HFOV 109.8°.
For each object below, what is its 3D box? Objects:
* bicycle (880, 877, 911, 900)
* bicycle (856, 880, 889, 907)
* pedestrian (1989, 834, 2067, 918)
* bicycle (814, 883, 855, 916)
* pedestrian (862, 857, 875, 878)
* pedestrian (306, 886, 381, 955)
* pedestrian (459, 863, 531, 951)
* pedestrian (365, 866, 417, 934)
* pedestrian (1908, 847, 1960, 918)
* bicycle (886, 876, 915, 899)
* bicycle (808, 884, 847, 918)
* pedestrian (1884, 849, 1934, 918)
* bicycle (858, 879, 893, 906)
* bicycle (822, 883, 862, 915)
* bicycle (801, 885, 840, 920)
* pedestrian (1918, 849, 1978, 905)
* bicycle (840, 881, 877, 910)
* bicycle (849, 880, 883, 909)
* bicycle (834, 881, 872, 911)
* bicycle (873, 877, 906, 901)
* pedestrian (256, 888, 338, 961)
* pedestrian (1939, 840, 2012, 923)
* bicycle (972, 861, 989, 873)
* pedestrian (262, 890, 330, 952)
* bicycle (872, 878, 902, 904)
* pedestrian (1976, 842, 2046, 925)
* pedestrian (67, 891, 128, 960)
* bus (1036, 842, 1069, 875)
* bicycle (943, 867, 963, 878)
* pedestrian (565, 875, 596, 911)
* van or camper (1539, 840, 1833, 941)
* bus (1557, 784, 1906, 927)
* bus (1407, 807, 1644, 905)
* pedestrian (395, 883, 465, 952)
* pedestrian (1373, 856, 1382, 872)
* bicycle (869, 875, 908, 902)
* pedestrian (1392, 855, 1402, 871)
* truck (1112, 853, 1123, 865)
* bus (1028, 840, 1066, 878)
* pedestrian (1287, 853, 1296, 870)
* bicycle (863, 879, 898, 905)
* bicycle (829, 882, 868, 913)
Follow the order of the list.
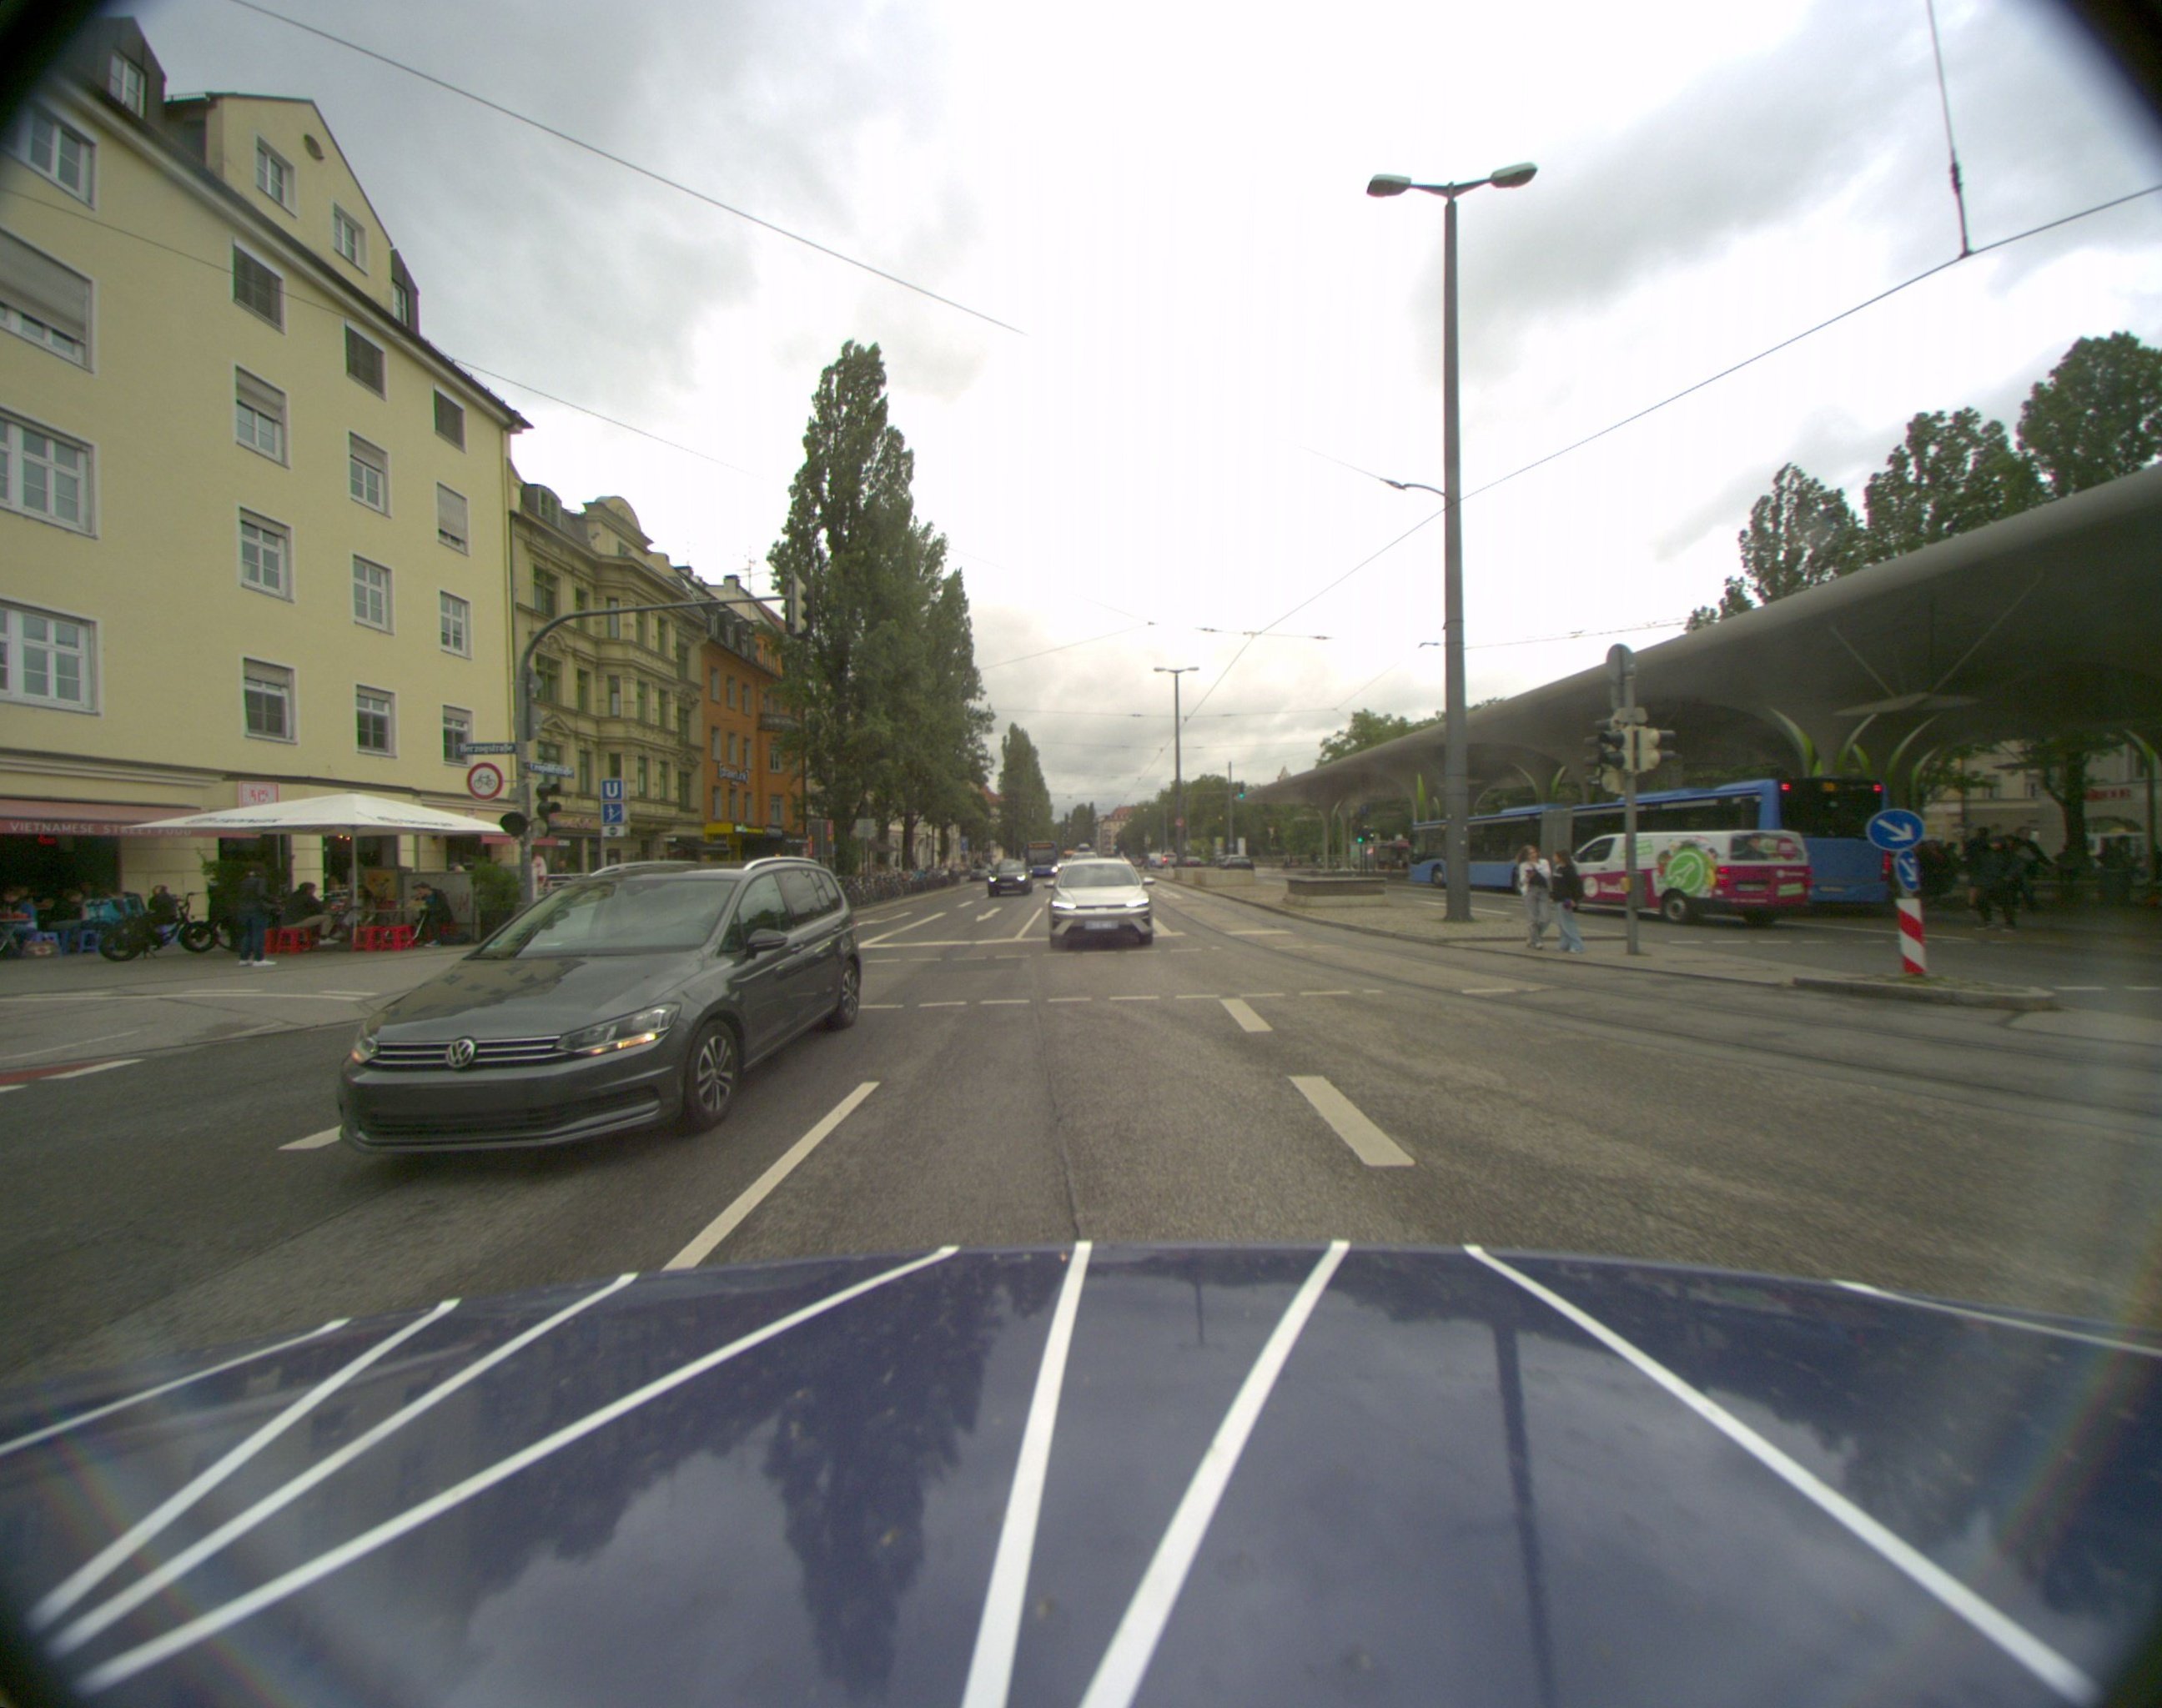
[{"bbox_3d":[-8.130,1.520,33.261,1.837,0.989,0.326,-3,-1,41],"label":"bicycle"},{"bbox_3d":[-8.008,1.499,29.099,1.837,0.990,0.349,0,1,44],"label":"bicycle"},{"bbox_3d":[20.877,0.484,16.770,0.805,1.806,0.706,-1,0,16],"label":"pedestrian"},{"bbox_3d":[-8.081,1.485,24.891,1.836,0.990,0.349,0,1,40],"label":"bicycle"},{"bbox_3d":[-17.815,1.120,63.785,0.748,1.704,1.017,-1,0,1],"label":"pedestrian"},{"bbox_3d":[-14.790,1.322,15.261,0.679,1.304,0.796,-1,0,1],"label":"pedestrian"},{"bbox_3d":[-11.972,1.052,15.551,0.884,1.733,0.857,-1,0,-16],"label":"pedestrian"},{"bbox_3d":[-16.910,1.121,18.632,0.616,1.623,0.677,-1,0,1],"label":"pedestrian"},{"bbox_3d":[19.187,0.638,17.095,0.564,1.563,0.533,-1,0,1],"label":"pedestrian"},{"bbox_3d":[-8.060,1.519,33.954,0.326,0.989,1.837,-1,-2,-45],"label":"bicycle"},{"bbox_3d":[-8.082,1.483,24.203,1.837,0.990,0.349,0,1,44],"label":"bicycle"},{"bbox_3d":[18.403,0.650,16.894,0.614,1.496,0.471,-1,0,-1],"label":"pedestrian"},{"bbox_3d":[-8.071,1.504,29.789,1.836,0.990,0.349,0,1,41],"label":"bicycle"},{"bbox_3d":[-8.054,1.486,25.556,1.836,0.990,0.349,0,1,40],"label":"bicycle"},{"bbox_3d":[-8.088,1.481,23.538,1.837,0.990,0.349,0,1,44],"label":"bicycle"},{"bbox_3d":[25.095,0.662,22.002,0.813,1.601,0.791,-1,0,7],"label":"pedestrian"},{"bbox_3d":[-8.121,1.498,27.692,1.836,0.990,0.349,0,1,40],"label":"bicycle"},{"bbox_3d":[-8.042,1.498,28.381,1.837,0.990,0.349,0,1,44],"label":"bicycle"},{"bbox_3d":[-8.125,1.495,27.037,1.836,0.990,0.349,0,1,40],"label":"bicycle"},{"bbox_3d":[-8.249,1.524,32.686,1.837,0.989,0.326,-3,-1,41],"label":"bicycle"},{"bbox_3d":[-14.807,1.320,14.372,0.679,1.304,0.796,-1,0,1],"label":"pedestrian"},{"bbox_3d":[18.465,0.557,15.696,0.631,1.665,0.748,-1,1,-7],"label":"pedestrian"},{"bbox_3d":[-9.069,1.178,68.635,1.740,1.096,0.360,-1,0,35],"label":"bicycle"},{"bbox_3d":[-15.978,1.345,15.480,0.627,1.196,0.700,-1,0,1],"label":"pedestrian"},{"bbox_3d":[-7.989,1.505,31.228,0.326,0.990,1.837,-1,0,-45],"label":"bicycle"},{"bbox_3d":[19.592,0.611,16.029,0.703,1.700,0.758,-1,0,30],"label":"pedestrian"},{"bbox_3d":[-19.374,1.400,14.982,0.479,1.291,0.527,-1,0,-1],"label":"pedestrian"},{"bbox_3d":[-2.762,0.438,75.685,2.637,2.956,8.534,-3,0,1],"label":"bus"},{"bbox_3d":[-11.902,1.718,70.666,1.838,0.911,0.392,-2,1,2],"label":"bicycle"},{"bbox_3d":[-17.208,1.336,26.116,0.602,1.215,0.666,-1,0,1],"label":"pedestrian"},{"bbox_3d":[12.564,0.676,16.433,1.933,1.815,5.440,0,0,-1],"label":"van or camper"},{"bbox_3d":[16.067,0.046,19.785,2.667,2.990,7.513,1,0,1],"label":"bus"},{"bbox_3d":[16.024,0.090,28.801,2.667,2.990,10.514,1,0,-1],"label":"bus"},{"bbox_3d":[-12.994,1.261,15.193,0.679,1.303,0.796,-1,0,1],"label":"pedestrian"},{"bbox_3d":[29.707,0.974,76.070,0.739,1.591,0.798,-1,0,15],"label":"pedestrian"},{"bbox_3d":[-8.112,1.445,31.931,1.837,1.106,0.468,-1,0,33],"label":"bicycle"},{"bbox_3d":[31.314,0.883,75.295,0.739,1.591,0.798,-1,0,15],"label":"pedestrian"},{"bbox_3d":[9.744,1.411,203.071,2.572,3.069,7.691,1,0,0],"label":"truck"},{"bbox_3d":[-2.895,0.415,66.693,2.637,2.956,9.467,-3,0,1],"label":"bus"},{"bbox_3d":[21.492,0.725,77.627,0.735,1.706,0.861,-1,0,11],"label":"pedestrian"},{"bbox_3d":[-8.040,1.505,30.454,1.836,0.990,0.349,0,1,41],"label":"bicycle"},{"bbox_3d":[-8.035,1.488,26.228,1.836,0.990,0.349,0,1,40],"label":"bicycle"}]
